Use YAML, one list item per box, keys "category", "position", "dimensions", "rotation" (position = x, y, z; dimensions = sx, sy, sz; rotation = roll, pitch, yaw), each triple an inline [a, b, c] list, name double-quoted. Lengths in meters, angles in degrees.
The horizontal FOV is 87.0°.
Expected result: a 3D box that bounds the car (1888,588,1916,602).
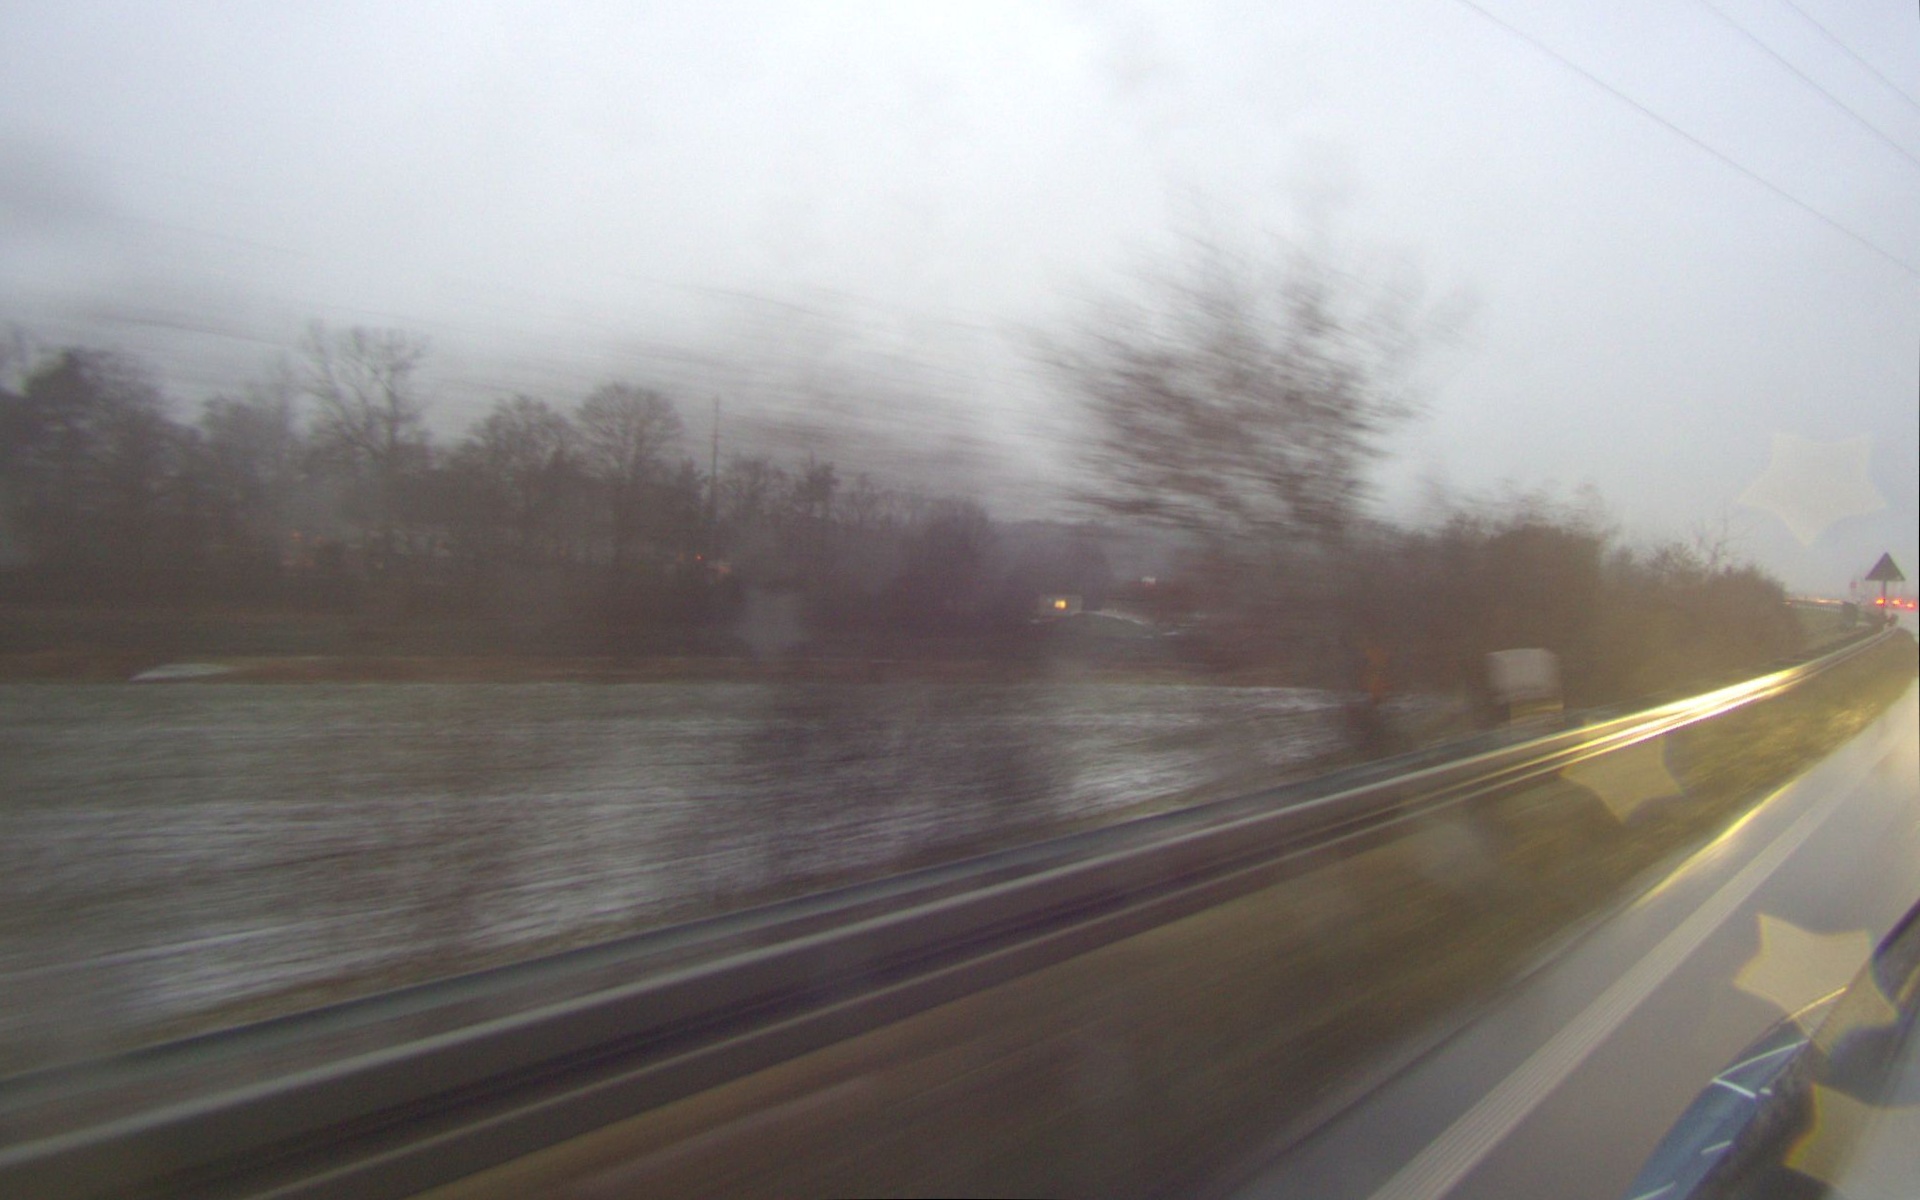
- category: "car"
  position: [96.438, -0.511, 103.632]
  dimensions: [1.691, 1.435, 3.946]
  rotation: [1, 1, 37]
